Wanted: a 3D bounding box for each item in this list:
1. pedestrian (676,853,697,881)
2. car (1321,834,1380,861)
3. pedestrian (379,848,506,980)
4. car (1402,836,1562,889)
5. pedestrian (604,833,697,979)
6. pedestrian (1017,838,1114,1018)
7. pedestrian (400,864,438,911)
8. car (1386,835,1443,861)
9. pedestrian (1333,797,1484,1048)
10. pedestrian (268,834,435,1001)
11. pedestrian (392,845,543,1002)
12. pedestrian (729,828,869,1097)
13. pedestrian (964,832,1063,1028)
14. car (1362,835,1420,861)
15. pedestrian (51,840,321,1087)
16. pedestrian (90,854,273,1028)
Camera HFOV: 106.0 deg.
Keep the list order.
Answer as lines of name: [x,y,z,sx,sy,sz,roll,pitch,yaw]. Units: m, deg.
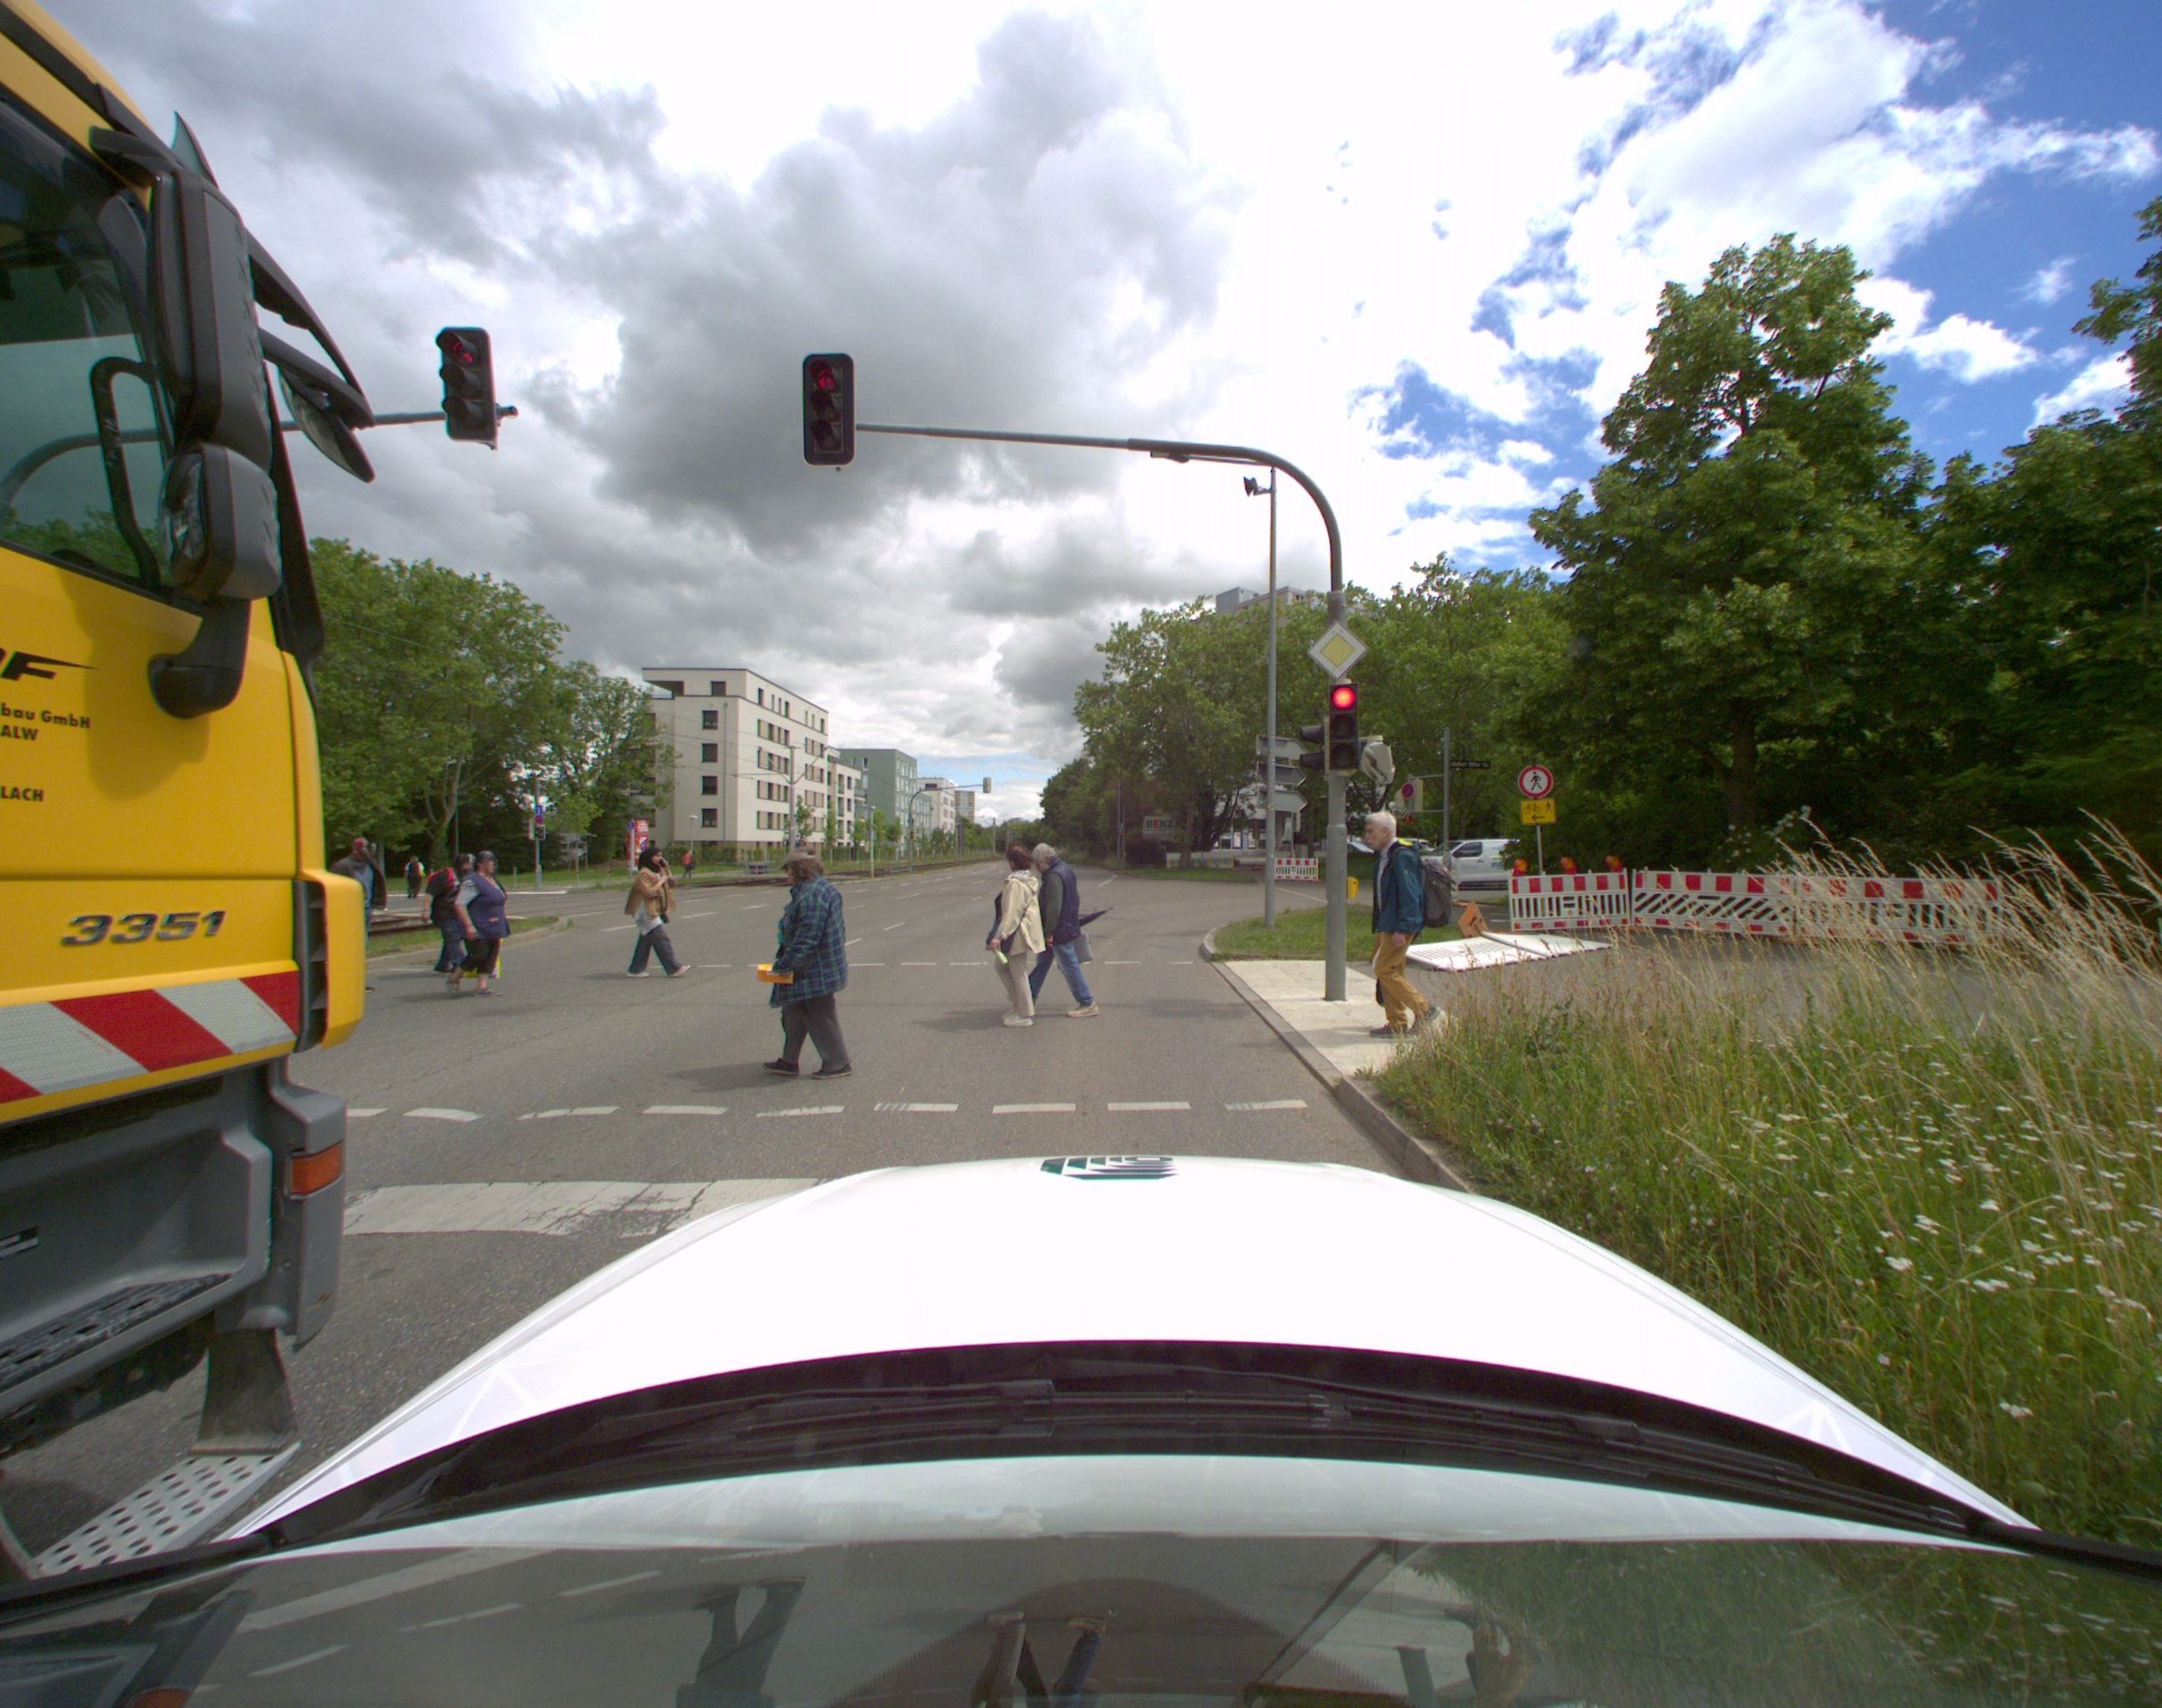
pedestrian: [-21.615,0.685,44.648,0.827,1.516,0.636,-1,0,1]
car: [20.569,-0.483,62.253,2.006,2.013,3.962,-1,0,-29]
pedestrian: [-8.110,0.728,10.391,0.890,1.596,0.907,-1,0,-2]
car: [14.917,0.304,30.458,5.063,1.874,1.947,-1,0,-2]
pedestrian: [-5.380,0.624,10.227,0.781,1.742,0.826,-1,0,-8]
pedestrian: [-0.136,0.678,7.829,0.865,1.634,0.765,-1,0,0]
pedestrian: [-24.618,1.228,30.278,1.075,1.648,0.700,-1,0,-40]
car: [27.315,-0.494,66.867,2.006,2.013,3.962,-1,0,-29]
pedestrian: [2.515,0.485,6.370,1.001,1.774,0.953,-1,0,18]
pedestrian: [-8.136,0.674,9.130,0.998,1.773,0.930,-1,0,2]
pedestrian: [-6.616,0.715,8.838,0.909,1.607,0.930,-1,0,2]
pedestrian: [-1.879,0.671,5.533,0.824,1.671,0.729,-1,0,-16]
pedestrian: [-0.600,0.638,7.247,0.821,1.640,0.732,-1,0,-5]
car: [24.601,-0.490,64.733,2.006,2.013,3.962,-1,0,-29]
pedestrian: [-6.414,0.732,5.901,0.955,1.648,0.881,-1,0,2]
pedestrian: [-8.449,0.781,7.685,0.877,1.554,0.747,-1,0,2]
